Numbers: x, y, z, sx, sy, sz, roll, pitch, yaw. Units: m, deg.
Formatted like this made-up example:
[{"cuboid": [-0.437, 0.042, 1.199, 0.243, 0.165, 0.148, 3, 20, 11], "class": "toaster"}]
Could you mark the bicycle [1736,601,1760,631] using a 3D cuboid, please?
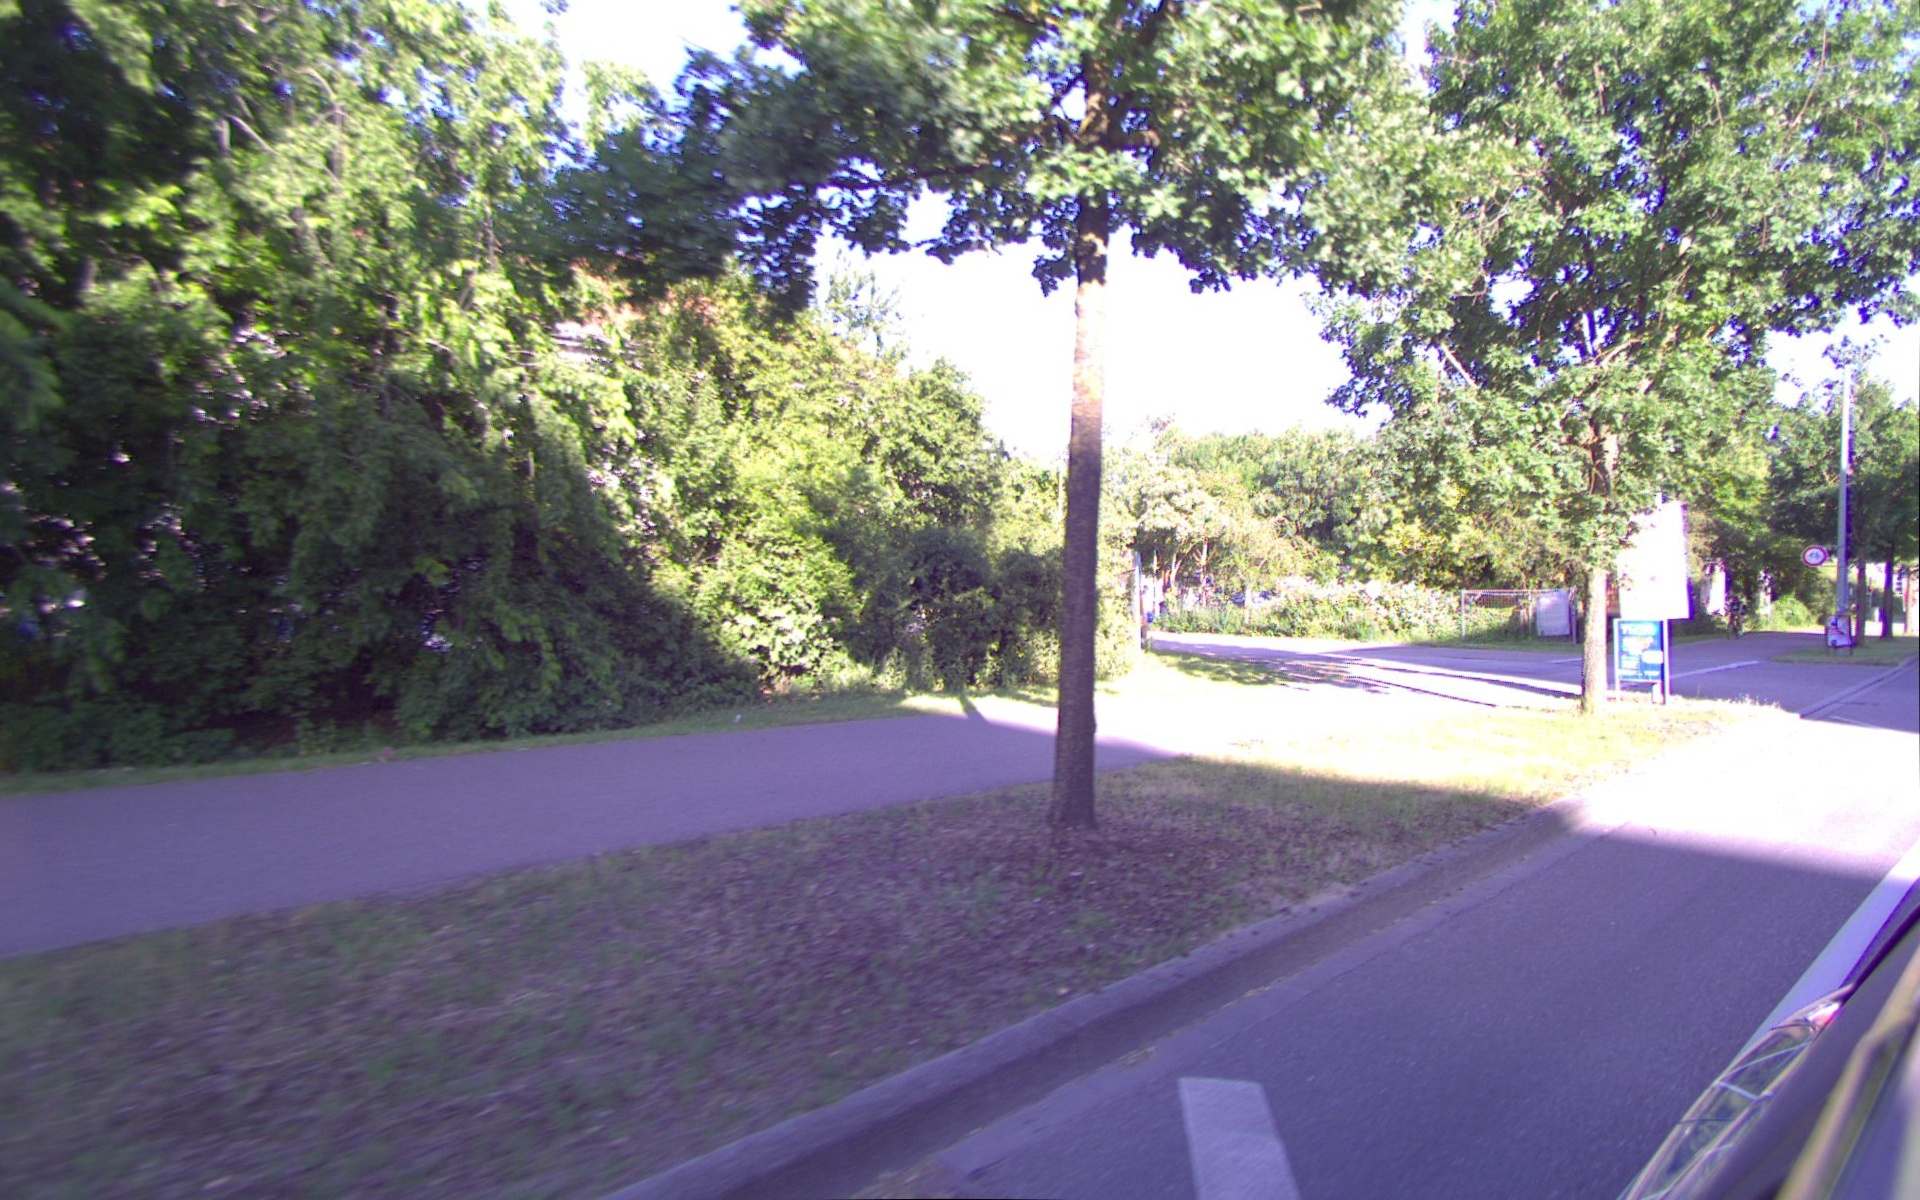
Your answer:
[{"cuboid": [30.050, 0.596, 38.595, 0.516, 1.086, 1.905, 1, 1, 44], "class": "bicycle"}]

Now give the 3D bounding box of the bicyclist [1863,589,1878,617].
[{"cuboid": [53.505, 0.150, 59.486, 0.851, 1.630, 0.565, 0, 1, -43], "class": "bicyclist"}]

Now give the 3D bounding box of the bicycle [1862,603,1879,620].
[{"cuboid": [53.609, 0.670, 59.604, 2.012, 1.004, 0.572, 1, 1, -44], "class": "bicycle"}]

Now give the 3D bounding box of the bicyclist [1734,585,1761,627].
[{"cuboid": [29.920, 0.215, 38.429, 0.685, 1.541, 1.019, 1, 1, 44], "class": "bicyclist"}]
